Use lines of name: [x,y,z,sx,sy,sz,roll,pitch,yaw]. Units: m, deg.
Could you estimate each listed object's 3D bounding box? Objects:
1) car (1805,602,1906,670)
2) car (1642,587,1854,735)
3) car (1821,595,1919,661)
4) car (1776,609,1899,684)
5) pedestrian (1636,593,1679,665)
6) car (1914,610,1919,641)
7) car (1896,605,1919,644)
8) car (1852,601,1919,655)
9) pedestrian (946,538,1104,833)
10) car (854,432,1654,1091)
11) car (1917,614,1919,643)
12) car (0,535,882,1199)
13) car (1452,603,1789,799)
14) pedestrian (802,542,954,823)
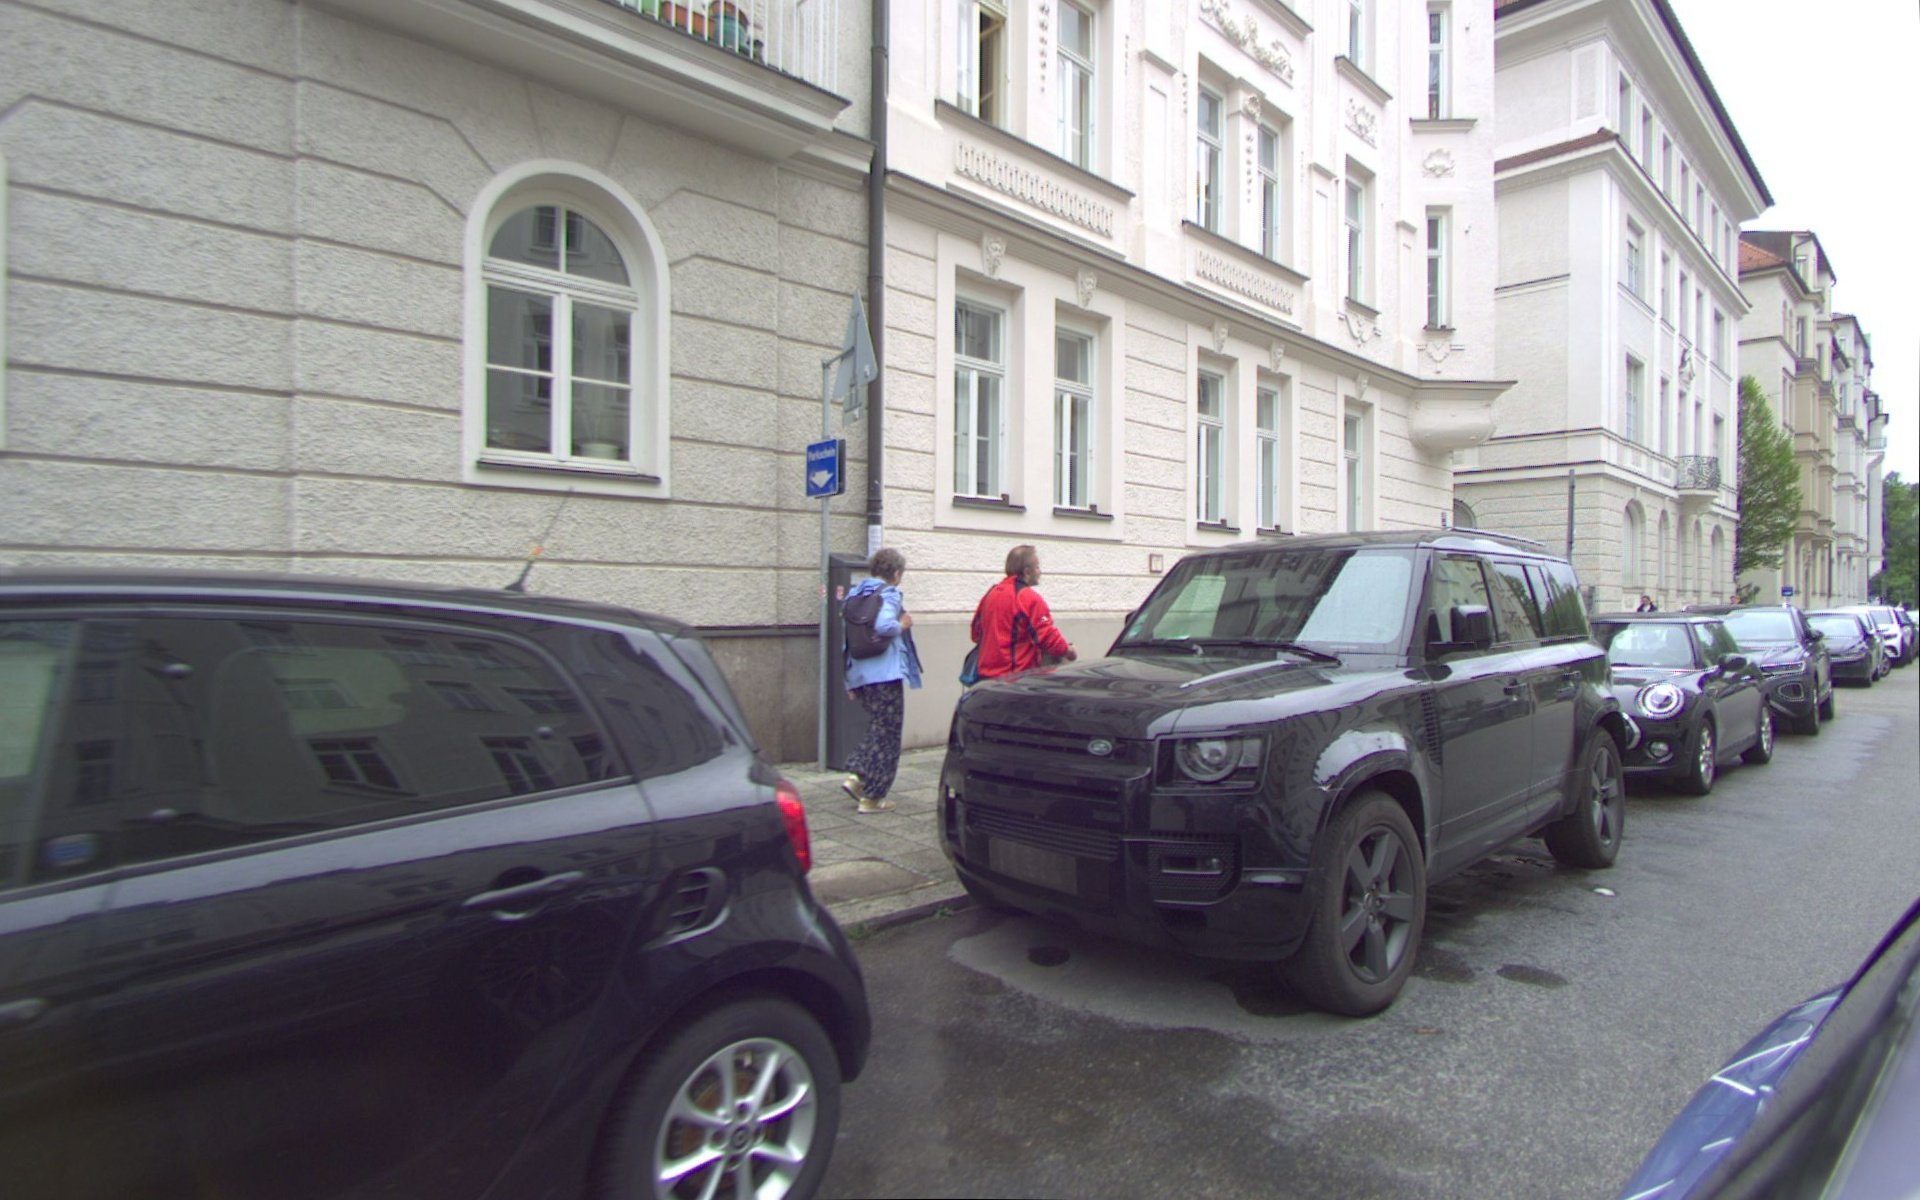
car: [21.976,0.815,24.786,1.708,1.520,3.937,0,0,43]
car: [10.265,0.698,13.075,1.707,1.608,3.935,-2,-2,44]
car: [25.137,0.754,27.701,4.316,1.657,1.898,2,-1,-43]
car: [18.213,0.896,20.956,3.934,1.413,1.613,1,-1,-45]
pedestrian: [17.220,0.711,24.983,0.798,1.700,0.683,2,1,-44]
car: [46.870,1.180,48.264,3.955,1.416,1.743,-1,-1,-43]
car: [39.893,1.022,41.876,1.663,1.527,3.999,0,-1,44]
car: [28.841,0.830,31.129,4.100,1.544,1.750,1,0,-44]
pedestrian: [0.418,0.499,6.505,0.703,1.750,0.692,2,1,44]
car: [1.876,0.495,5.257,4.635,1.909,1.912,0,-2,-44]
car: [50.432,1.440,51.958,3.933,1.436,1.643,0,-1,-43]
car: [-2.050,0.680,1.808,3.575,1.545,1.656,1,-1,-43]
car: [6.057,0.751,9.146,3.520,1.413,1.666,0,-1,-42]
pedestrian: [-0.534,0.492,6.590,0.680,1.695,0.644,4,2,44]
